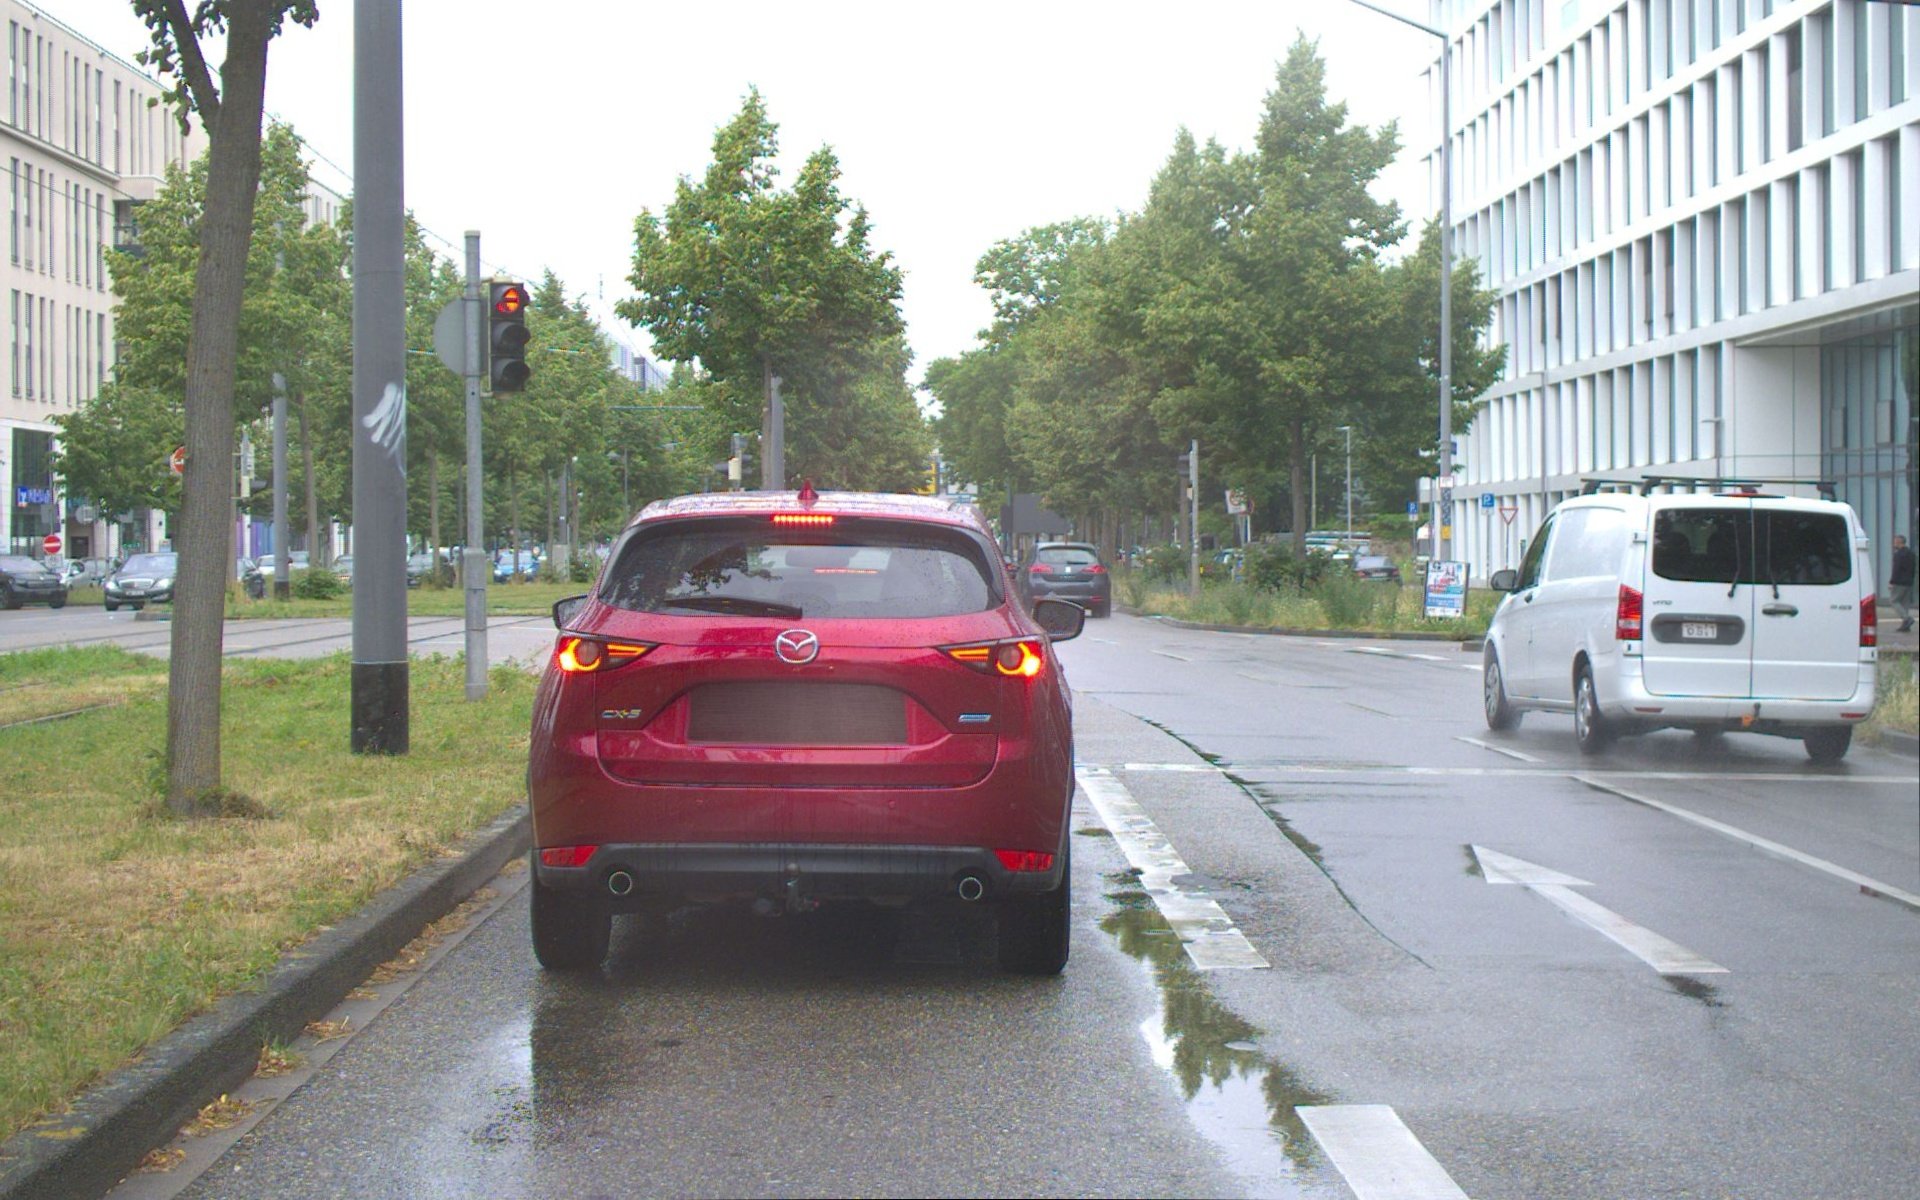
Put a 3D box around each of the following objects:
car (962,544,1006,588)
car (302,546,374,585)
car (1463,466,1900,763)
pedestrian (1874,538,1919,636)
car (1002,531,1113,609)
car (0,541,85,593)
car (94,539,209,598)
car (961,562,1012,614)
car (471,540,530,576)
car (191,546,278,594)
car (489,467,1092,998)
[{"bbox_3d":[1.113,-1.582,160.546,1.993,2.007,4.000,0,1,-1],"label":"car"},{"bbox_3d":[-24.203,-1.367,133.885,1.993,1.479,4.446,0,1,0],"label":"car"},{"bbox_3d":[5.211,0.070,25.587,1.967,1.972,5.092,1,1,-2],"label":"car"},{"bbox_3d":[16.515,-0.225,60.362,0.677,1.701,0.784,0,1,-2],"label":"pedestrian"},{"bbox_3d":[1.878,-0.607,67.272,1.743,1.460,3.782,0,1,-5],"label":"car"},{"bbox_3d":[-27.234,-1.000,101.357,1.993,1.479,4.446,0,1,-4],"label":"car"},{"bbox_3d":[-21.179,-0.839,90.186,1.993,1.479,4.446,0,1,0],"label":"car"},{"bbox_3d":[1.057,-0.511,138.289,1.993,2.007,4.000,0,1,-1],"label":"car"},{"bbox_3d":[-19.358,-1.789,144.987,1.993,1.479,4.446,0,1,-1],"label":"car"},{"bbox_3d":[-23.704,-0.991,112.476,1.993,1.479,4.446,1,1,-1],"label":"car"},{"bbox_3d":[-0.576,0.380,12.875,1.898,1.671,4.000,0,1,-1],"label":"car"}]
